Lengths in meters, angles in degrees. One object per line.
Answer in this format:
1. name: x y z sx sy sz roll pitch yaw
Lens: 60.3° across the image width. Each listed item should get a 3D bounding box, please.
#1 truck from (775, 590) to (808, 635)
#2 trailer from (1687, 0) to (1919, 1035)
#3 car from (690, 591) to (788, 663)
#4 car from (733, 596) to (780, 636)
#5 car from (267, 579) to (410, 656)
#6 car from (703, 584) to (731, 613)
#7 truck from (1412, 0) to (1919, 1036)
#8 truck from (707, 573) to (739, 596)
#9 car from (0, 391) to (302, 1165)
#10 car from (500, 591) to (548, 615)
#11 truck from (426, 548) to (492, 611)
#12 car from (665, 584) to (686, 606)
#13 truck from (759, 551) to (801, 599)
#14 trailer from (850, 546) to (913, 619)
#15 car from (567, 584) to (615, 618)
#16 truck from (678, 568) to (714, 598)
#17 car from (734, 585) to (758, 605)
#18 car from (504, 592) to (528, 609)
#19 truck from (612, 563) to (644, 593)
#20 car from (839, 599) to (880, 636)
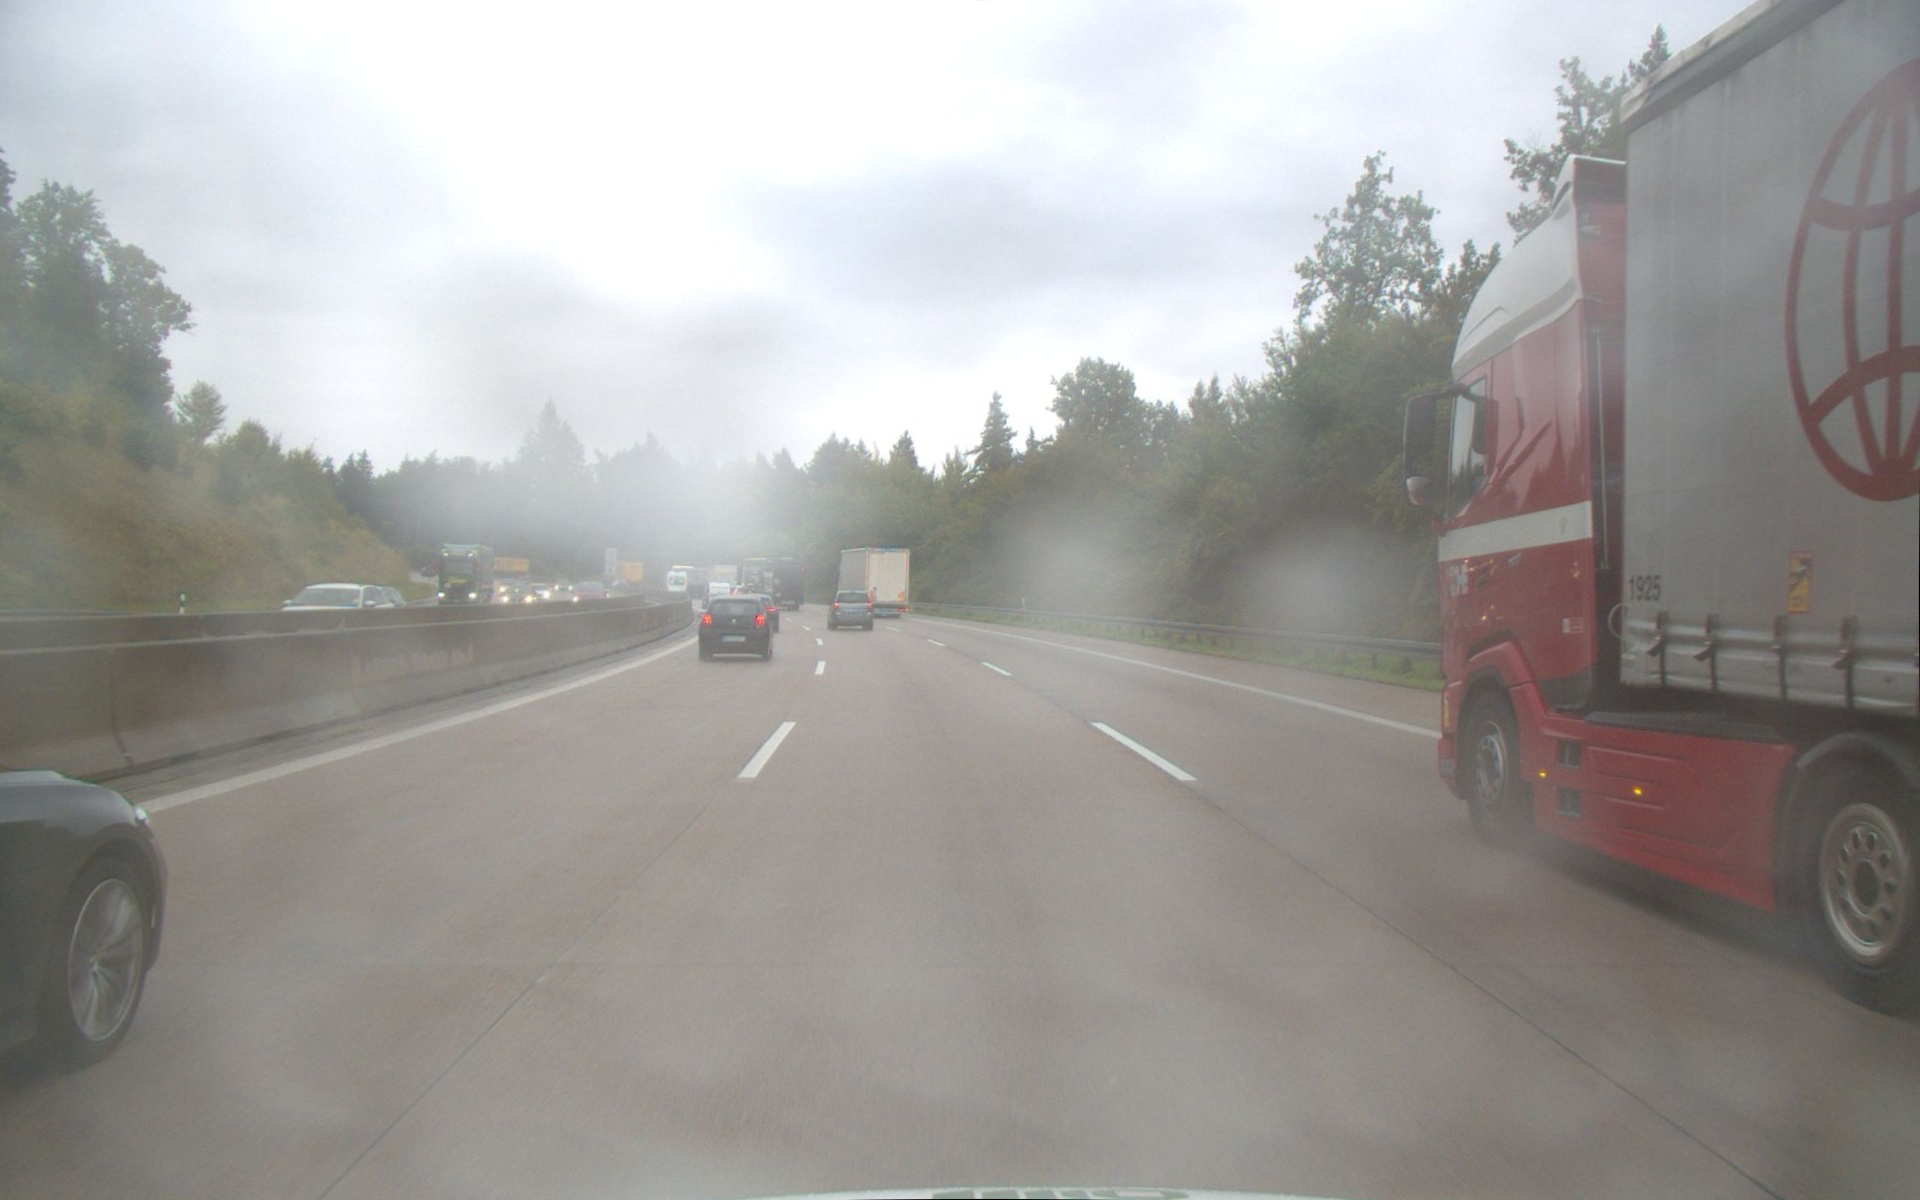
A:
1. truck: -12.279 0.843 120.420 2.226 2.937 7.893 2 1 -6
2. trailer: 4.494 -0.501 1.245 2.322 4.023 12.519 0 0 0
3. car: -5.061 0.586 38.276 1.649 1.487 3.684 3 0 1
4. car: -7.717 0.571 62.928 1.523 1.375 3.680 3 0 -4
5. car: -13.719 0.368 36.760 1.707 1.588 4.282 1 0 -2
6. car: -17.117 -0.102 116.661 1.692 2.049 3.653 1 0 -5
7. truck: 4.436 -0.524 8.780 2.326 4.023 6.159 0 0 -1
8. truck: -26.639 -1.799 185.787 2.924 2.349 6.644 3 0 -14
9. car: -3.357 0.452 3.149 1.869 1.979 6.160 1 0 -2
10. car: -24.724 0.132 93.979 1.955 1.316 4.292 1 0 -6
11. truck: -33.520 -1.332 110.899 2.872 4.030 8.104 1 0 -7
12. car: -27.753 -0.514 161.275 1.958 2.095 3.990 1 0 -11
13. truck: -16.912 -2.350 154.675 3.307 4.203 10.415 1 1 -9
14. trailer: -4.907 -1.086 101.190 2.375 4.139 12.029 1 1 -9
15. car: -20.478 0.034 92.000 1.954 1.799 4.533 1 0 -4
16. truck: -28.253 -1.882 176.610 3.031 2.956 7.874 2 1 -15
17. car: -17.599 -0.421 136.048 1.846 1.498 3.995 3 0 -6
18. car: -41.734 0.042 155.533 1.698 1.519 3.993 0 0 -8
19. truck: -48.051 -3.123 238.985 3.683 4.283 6.781 1 0 -19
20. car: -4.175 0.693 68.470 1.523 1.375 3.680 3 0 -5
